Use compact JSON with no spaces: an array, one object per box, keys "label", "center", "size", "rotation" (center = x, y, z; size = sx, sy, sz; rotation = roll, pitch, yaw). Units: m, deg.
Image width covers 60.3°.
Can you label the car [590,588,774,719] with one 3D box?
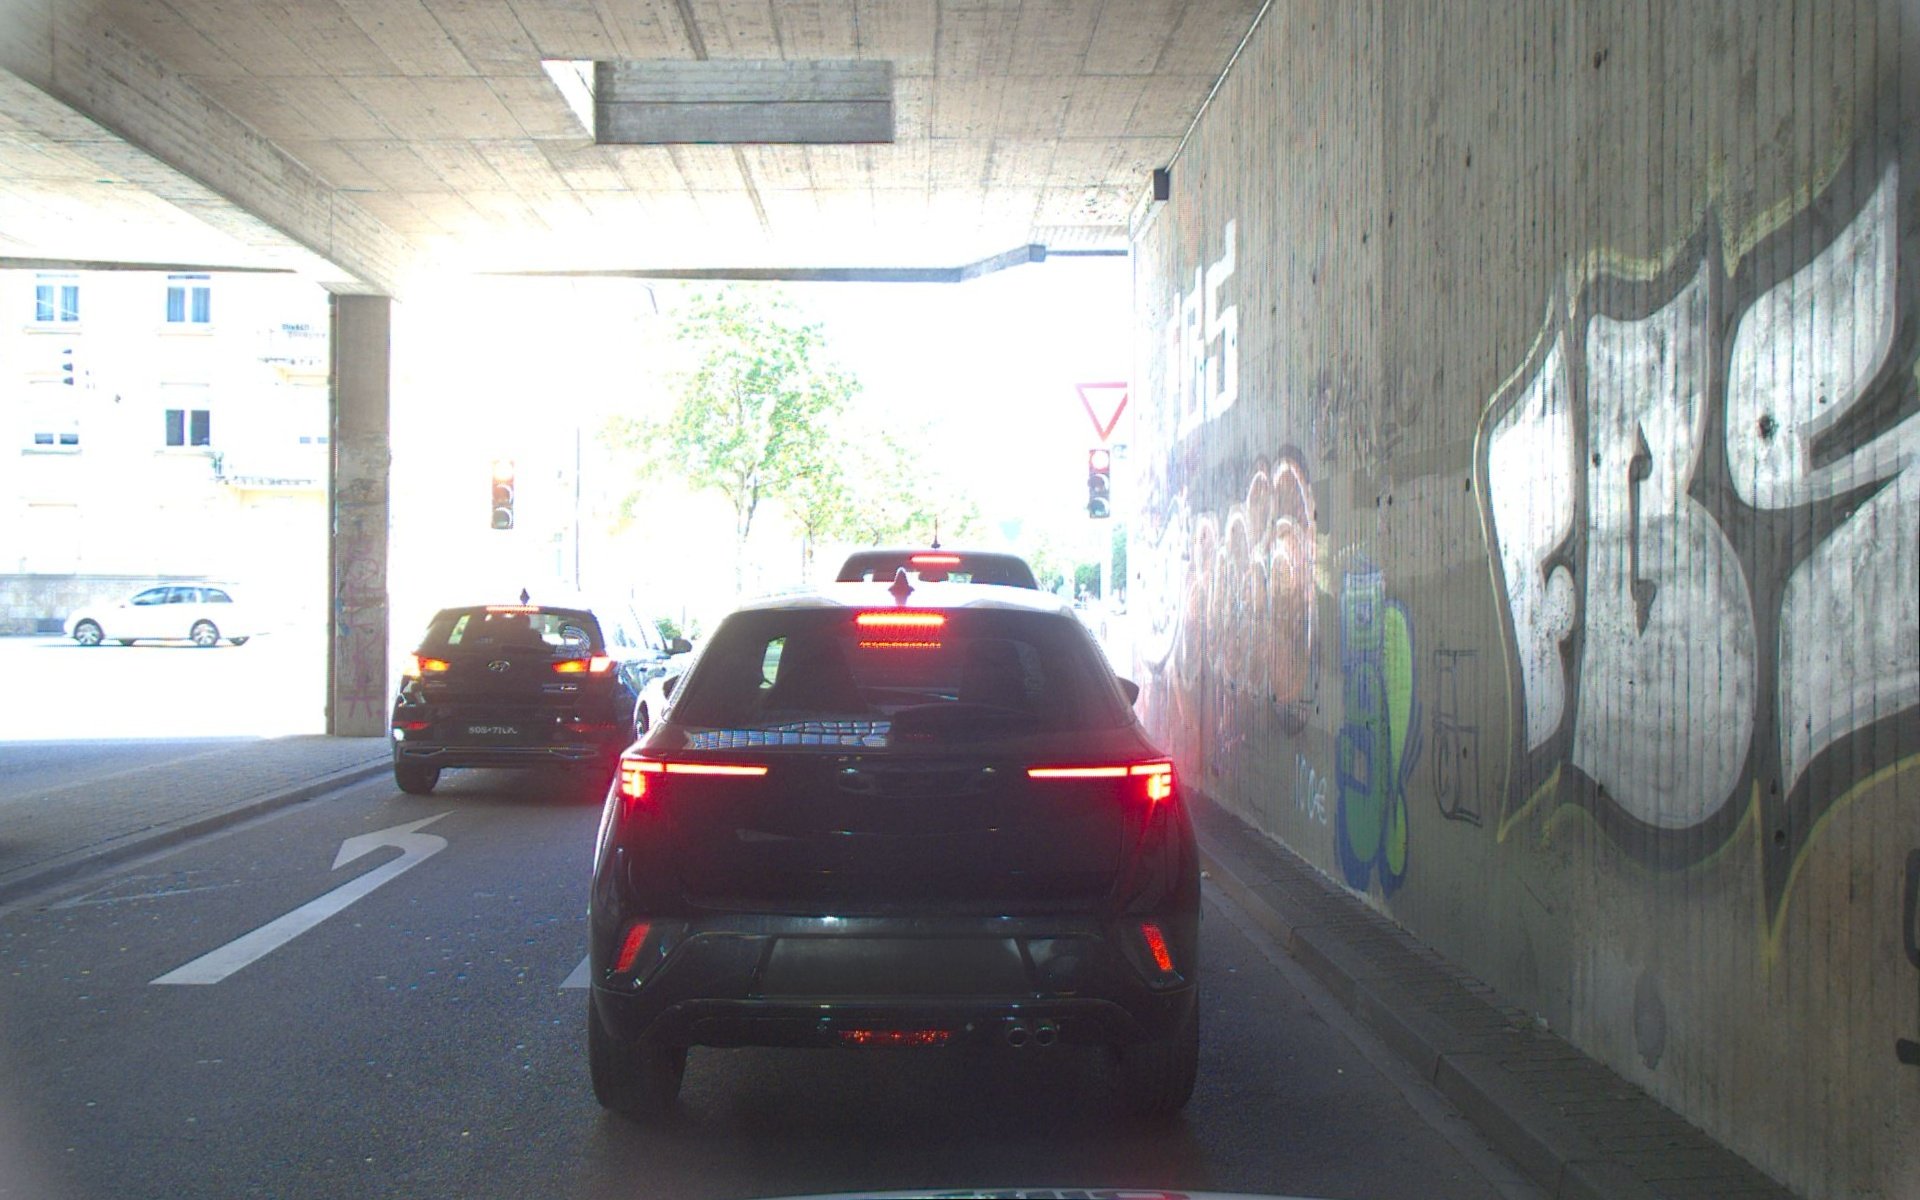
[{"label":"car","center":[-3.417,0.614,20.978],"size":[1.726,1.506,3.843],"rotation":[0,0,-1]}]

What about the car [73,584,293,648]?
[{"label":"car","center":[-17.962,0.366,38.368],"size":[4.190,1.423,1.883],"rotation":[0,0,1]}]

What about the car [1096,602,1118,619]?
[{"label":"car","center":[15.111,1.034,169.957],"size":[1.778,1.696,4.819],"rotation":[1,0,11]}]

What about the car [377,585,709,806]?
[{"label":"car","center":[-3.146,0.653,13.257],"size":[1.726,1.506,3.843],"rotation":[0,0,-1]}]

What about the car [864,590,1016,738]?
[{"label":"car","center":[-0.235,0.666,19.274],"size":[1.576,1.539,4.053],"rotation":[0,0,-1]}]

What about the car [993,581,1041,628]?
[{"label":"car","center":[2.180,0.178,62.254],"size":[1.717,1.696,3.946],"rotation":[1,0,3]}]

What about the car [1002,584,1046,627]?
[{"label":"car","center":[2.669,0.213,68.380],"size":[1.717,1.696,3.946],"rotation":[1,0,3]}]

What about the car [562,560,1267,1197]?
[{"label":"car","center":[-0.135,0.681,6.114],"size":[1.726,1.558,4.088],"rotation":[0,0,-1]}]

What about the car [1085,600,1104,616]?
[{"label":"car","center":[14.947,0.914,183.407],"size":[1.716,1.696,3.948],"rotation":[1,0,10]}]

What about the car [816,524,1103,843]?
[{"label":"car","center":[-0.029,0.499,12.059],"size":[1.726,1.915,4.145],"rotation":[0,0,-1]}]
